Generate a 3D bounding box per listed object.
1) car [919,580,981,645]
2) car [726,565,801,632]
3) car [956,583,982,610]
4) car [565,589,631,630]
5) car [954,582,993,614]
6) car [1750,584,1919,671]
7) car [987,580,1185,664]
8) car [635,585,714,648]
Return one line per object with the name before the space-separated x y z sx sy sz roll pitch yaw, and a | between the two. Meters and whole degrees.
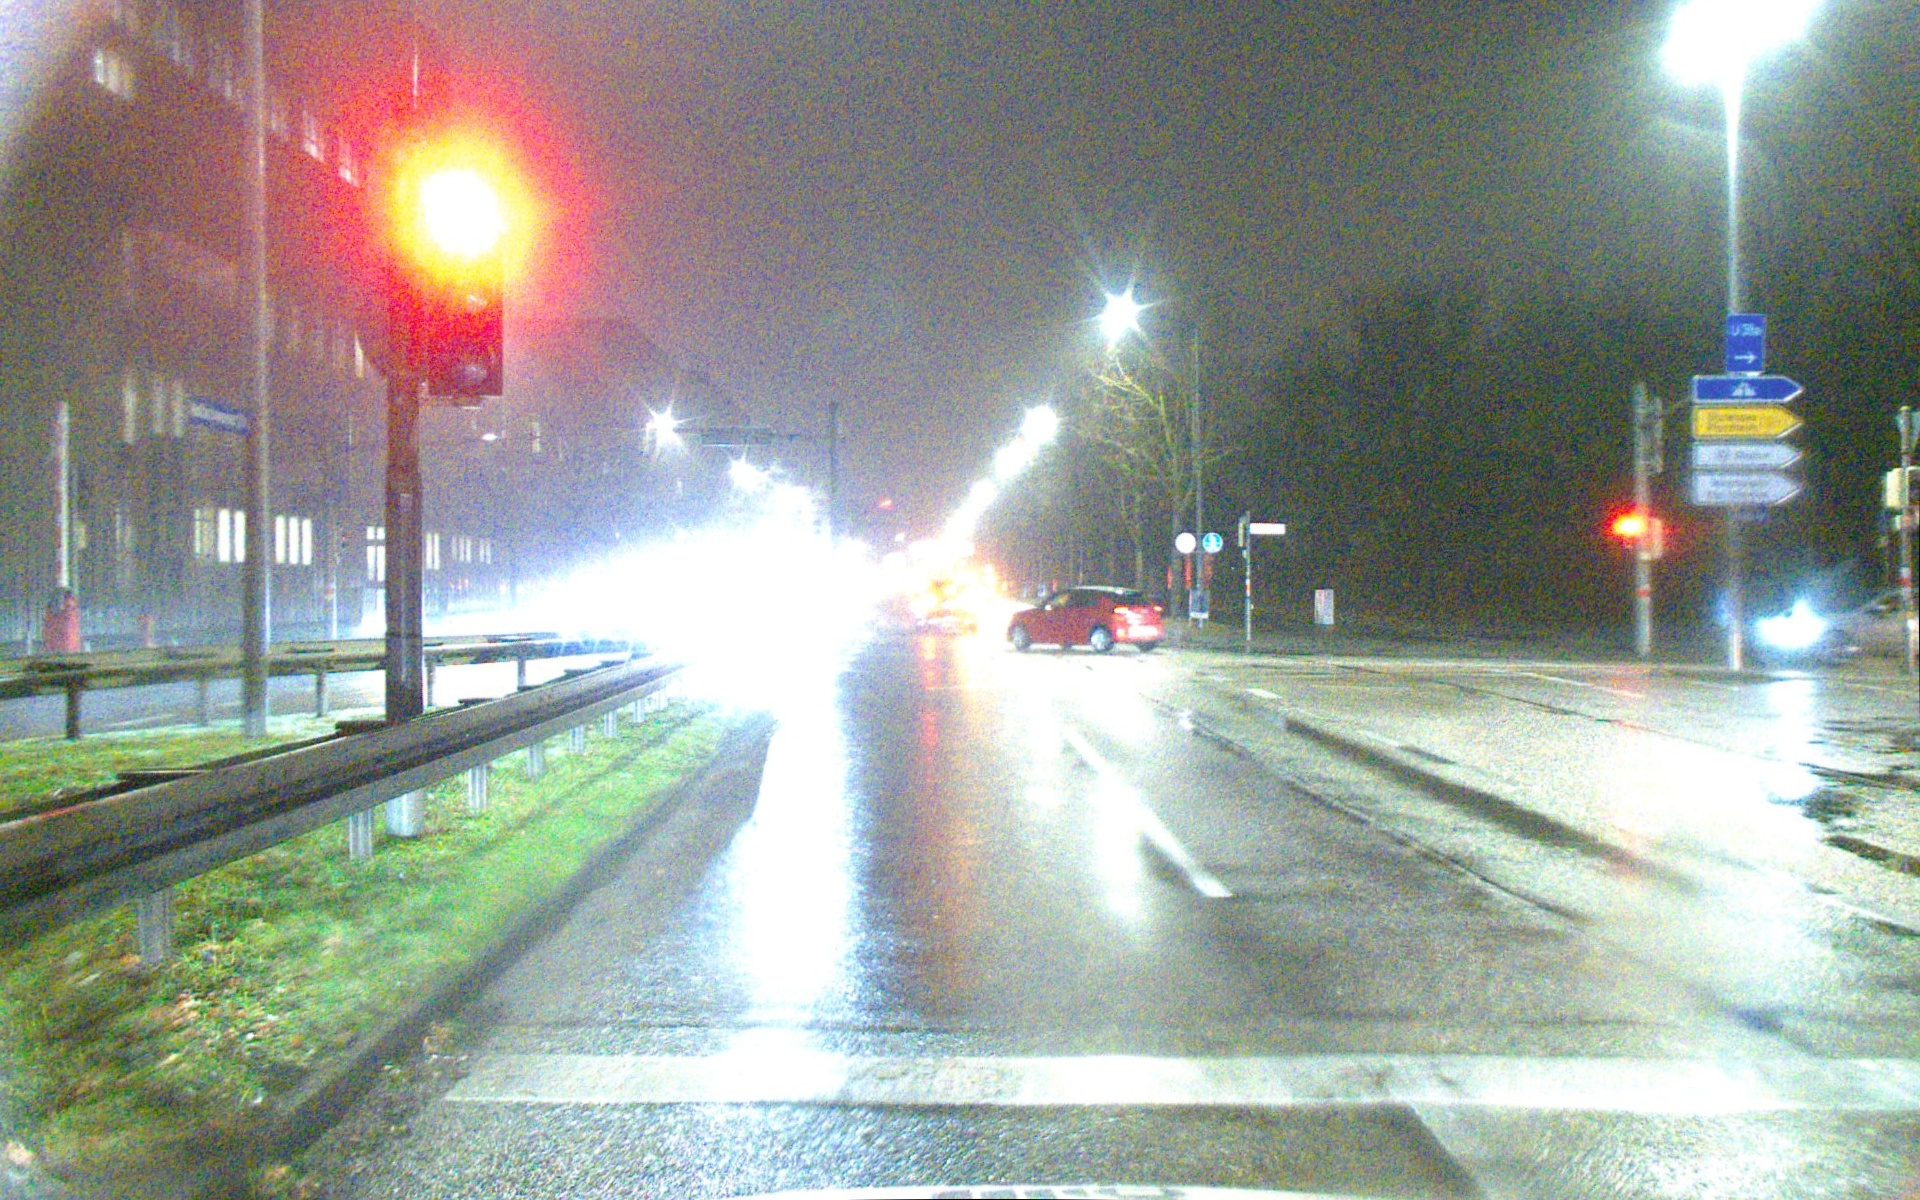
car | -0.318 0.380 49.310 1.648 1.870 3.426 0 0 -4
car | -6.193 -0.046 52.606 1.953 2.049 3.999 -1 0 -1
car | 0.757 -0.282 140.562 2.163 2.253 3.642 0 -1 -1
car | -14.976 0.400 68.623 1.809 1.618 4.351 0 0 -1
car | 0.784 -0.100 95.901 1.865 1.811 3.995 0 0 -5
car | 17.756 0.525 31.821 4.246 1.618 1.855 0 -1 8
car | 2.799 0.484 37.467 1.969 1.785 4.283 1 -1 -43
car | -8.742 0.498 50.917 1.746 1.847 3.999 -1 0 -1
